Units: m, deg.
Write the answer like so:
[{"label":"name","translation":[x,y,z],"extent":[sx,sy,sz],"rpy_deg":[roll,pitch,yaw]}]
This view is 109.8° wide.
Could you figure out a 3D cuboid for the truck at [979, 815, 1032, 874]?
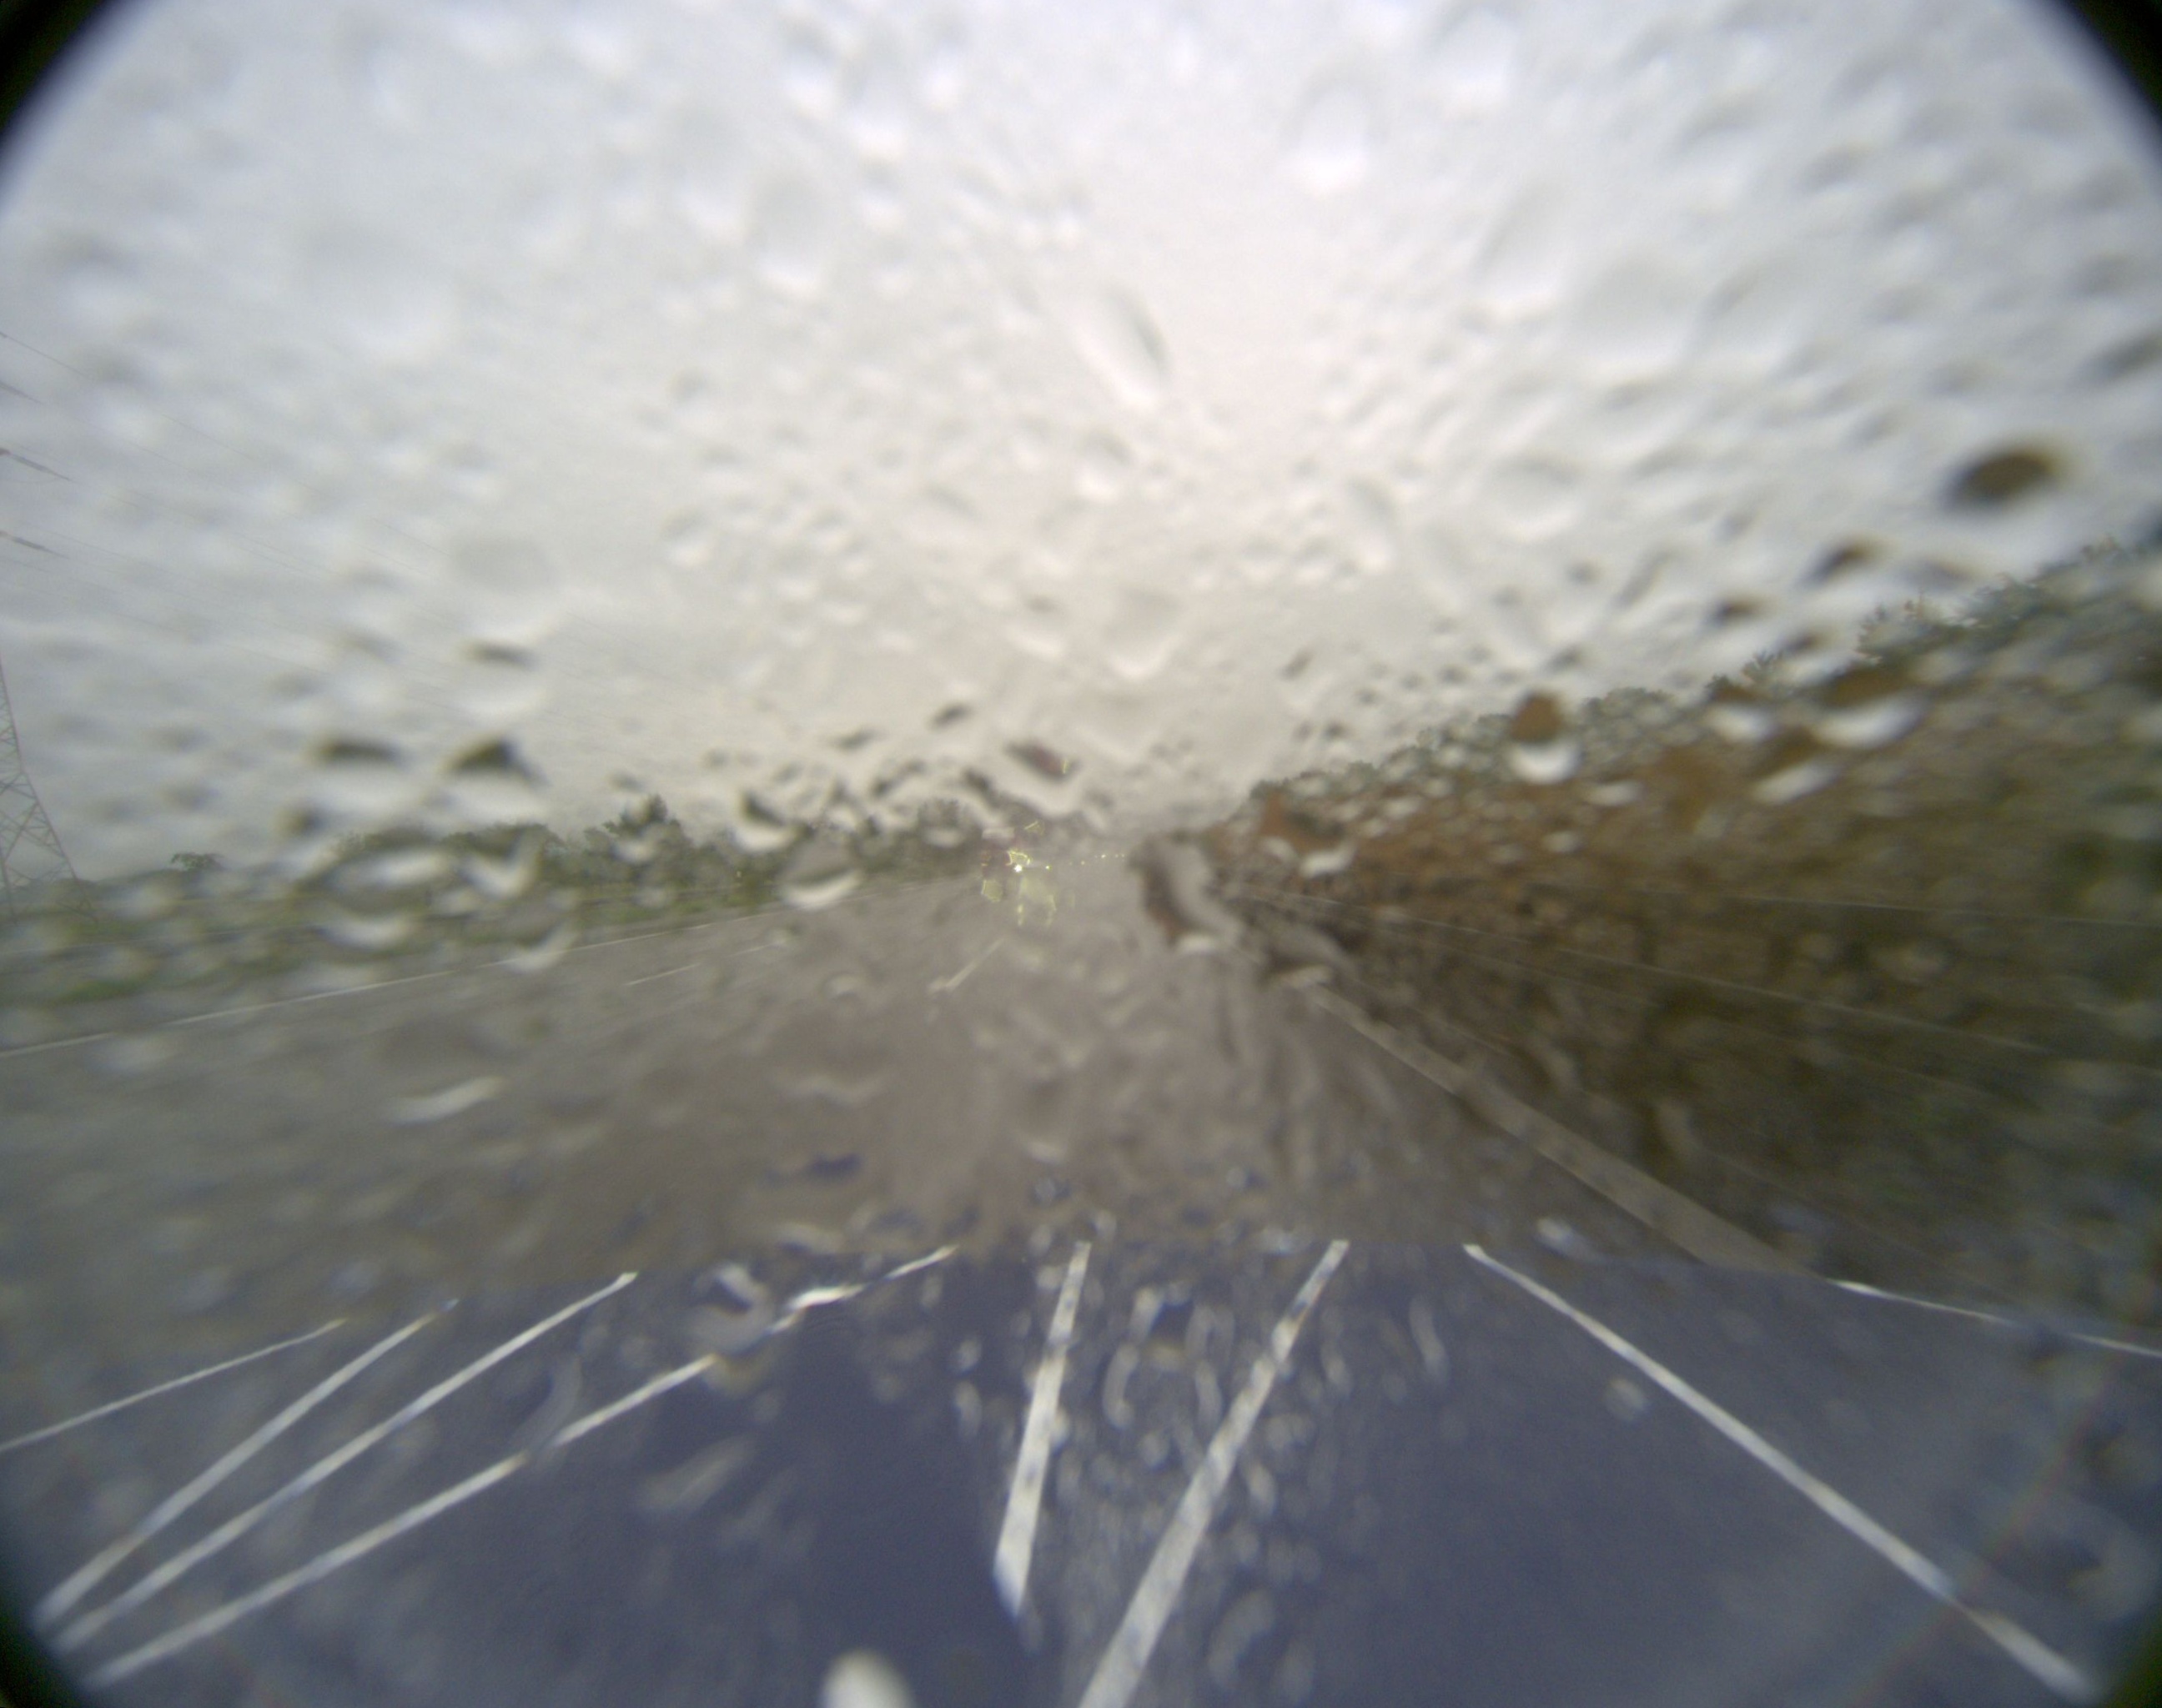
[{"label":"truck","translation":[-6.383,-0.839,66.464],"extent":[3.136,4.642,11.402],"rpy_deg":[-2,1,1]}]

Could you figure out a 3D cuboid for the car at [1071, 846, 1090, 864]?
[{"label":"car","translation":[-0.060,0.127,90.191],"extent":[1.998,2.002,4.000],"rpy_deg":[-2,1,2]}]

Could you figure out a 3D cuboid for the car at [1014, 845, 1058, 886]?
[{"label":"car","translation":[-2.384,0.589,41.427],"extent":[1.998,2.002,4.000],"rpy_deg":[-3,1,1]}]
